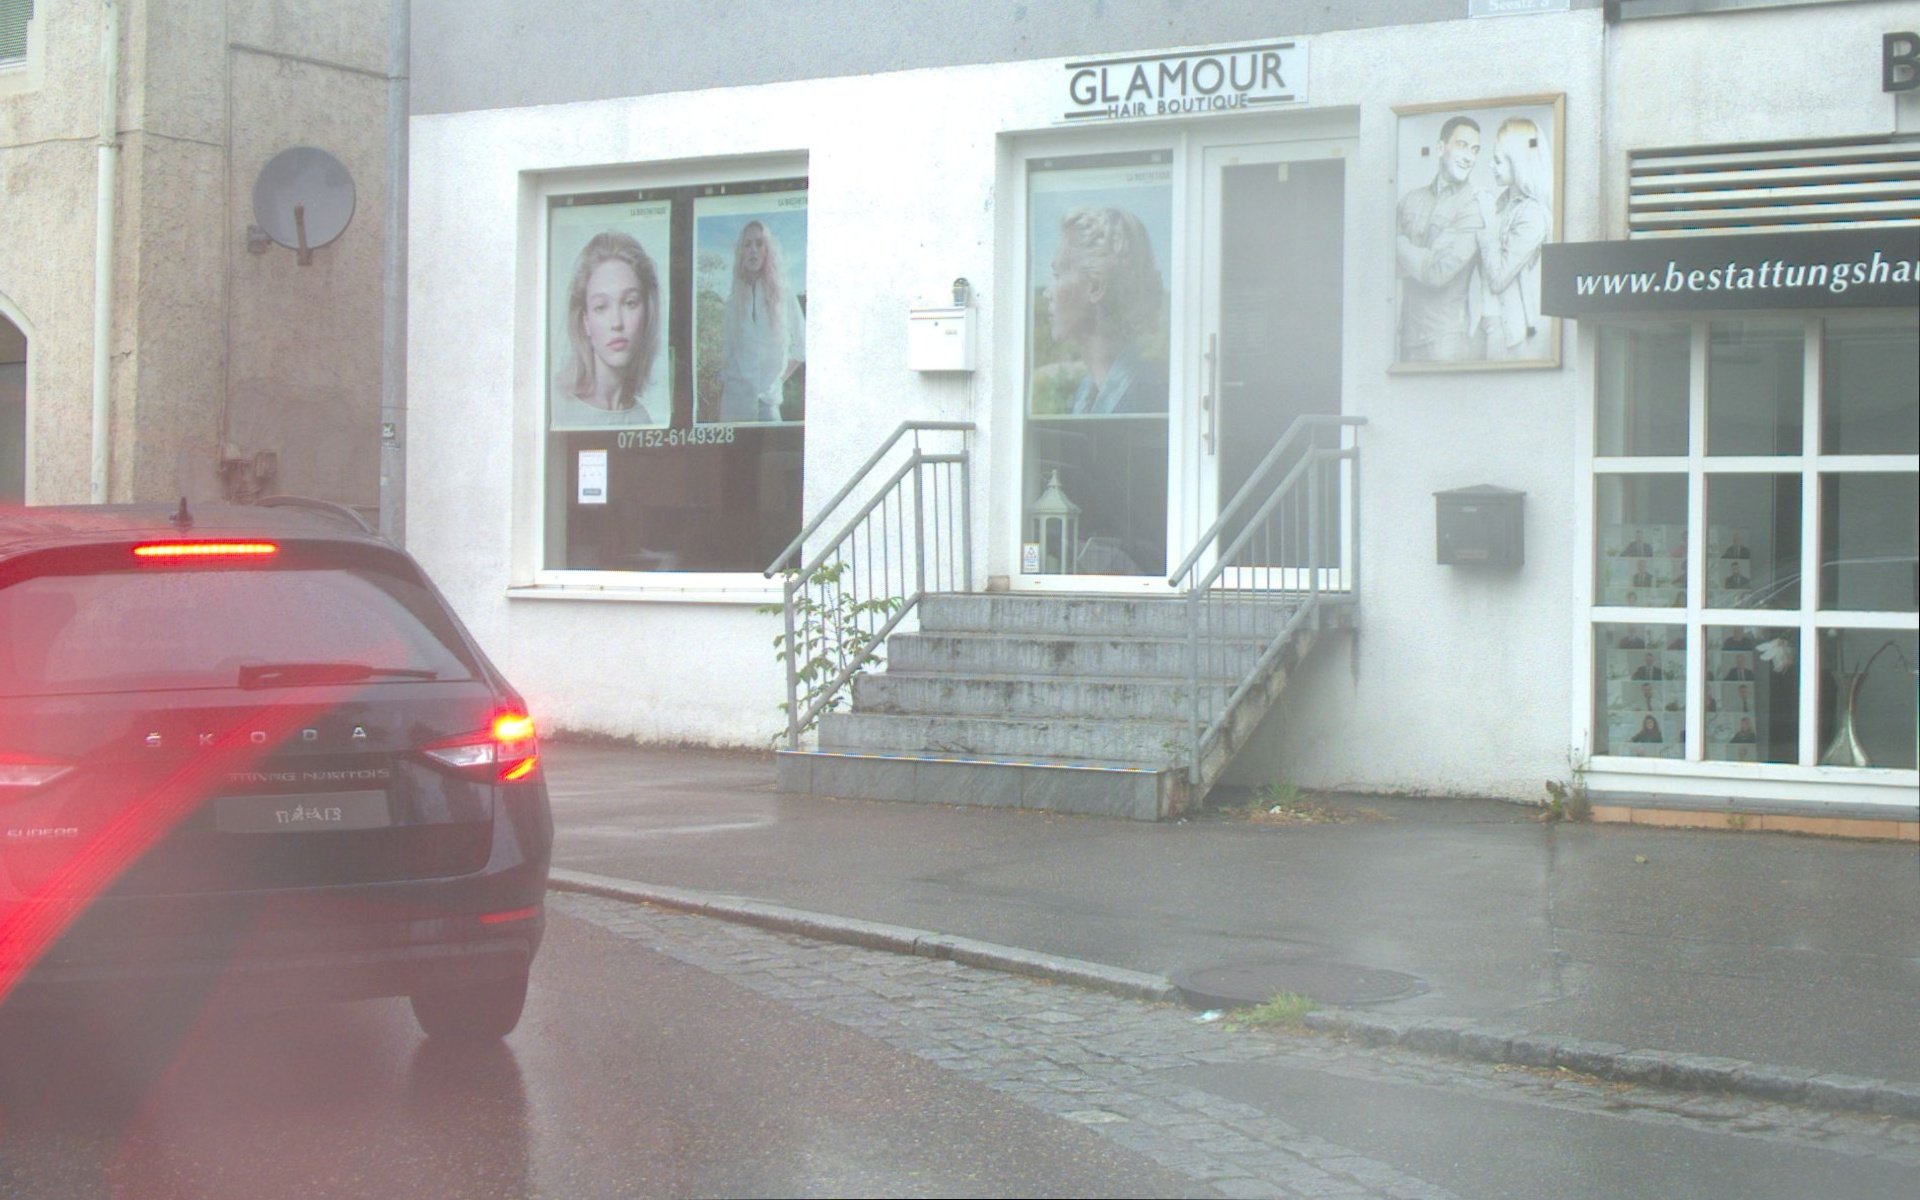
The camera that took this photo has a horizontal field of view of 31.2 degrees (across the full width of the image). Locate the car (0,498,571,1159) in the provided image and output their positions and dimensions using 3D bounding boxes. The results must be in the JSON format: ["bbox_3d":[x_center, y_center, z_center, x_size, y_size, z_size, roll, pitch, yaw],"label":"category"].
[{"bbox_3d":[-2.569,0.461,9.993,1.732,1.445,4.243,-1,3,-23],"label":"car"}]
